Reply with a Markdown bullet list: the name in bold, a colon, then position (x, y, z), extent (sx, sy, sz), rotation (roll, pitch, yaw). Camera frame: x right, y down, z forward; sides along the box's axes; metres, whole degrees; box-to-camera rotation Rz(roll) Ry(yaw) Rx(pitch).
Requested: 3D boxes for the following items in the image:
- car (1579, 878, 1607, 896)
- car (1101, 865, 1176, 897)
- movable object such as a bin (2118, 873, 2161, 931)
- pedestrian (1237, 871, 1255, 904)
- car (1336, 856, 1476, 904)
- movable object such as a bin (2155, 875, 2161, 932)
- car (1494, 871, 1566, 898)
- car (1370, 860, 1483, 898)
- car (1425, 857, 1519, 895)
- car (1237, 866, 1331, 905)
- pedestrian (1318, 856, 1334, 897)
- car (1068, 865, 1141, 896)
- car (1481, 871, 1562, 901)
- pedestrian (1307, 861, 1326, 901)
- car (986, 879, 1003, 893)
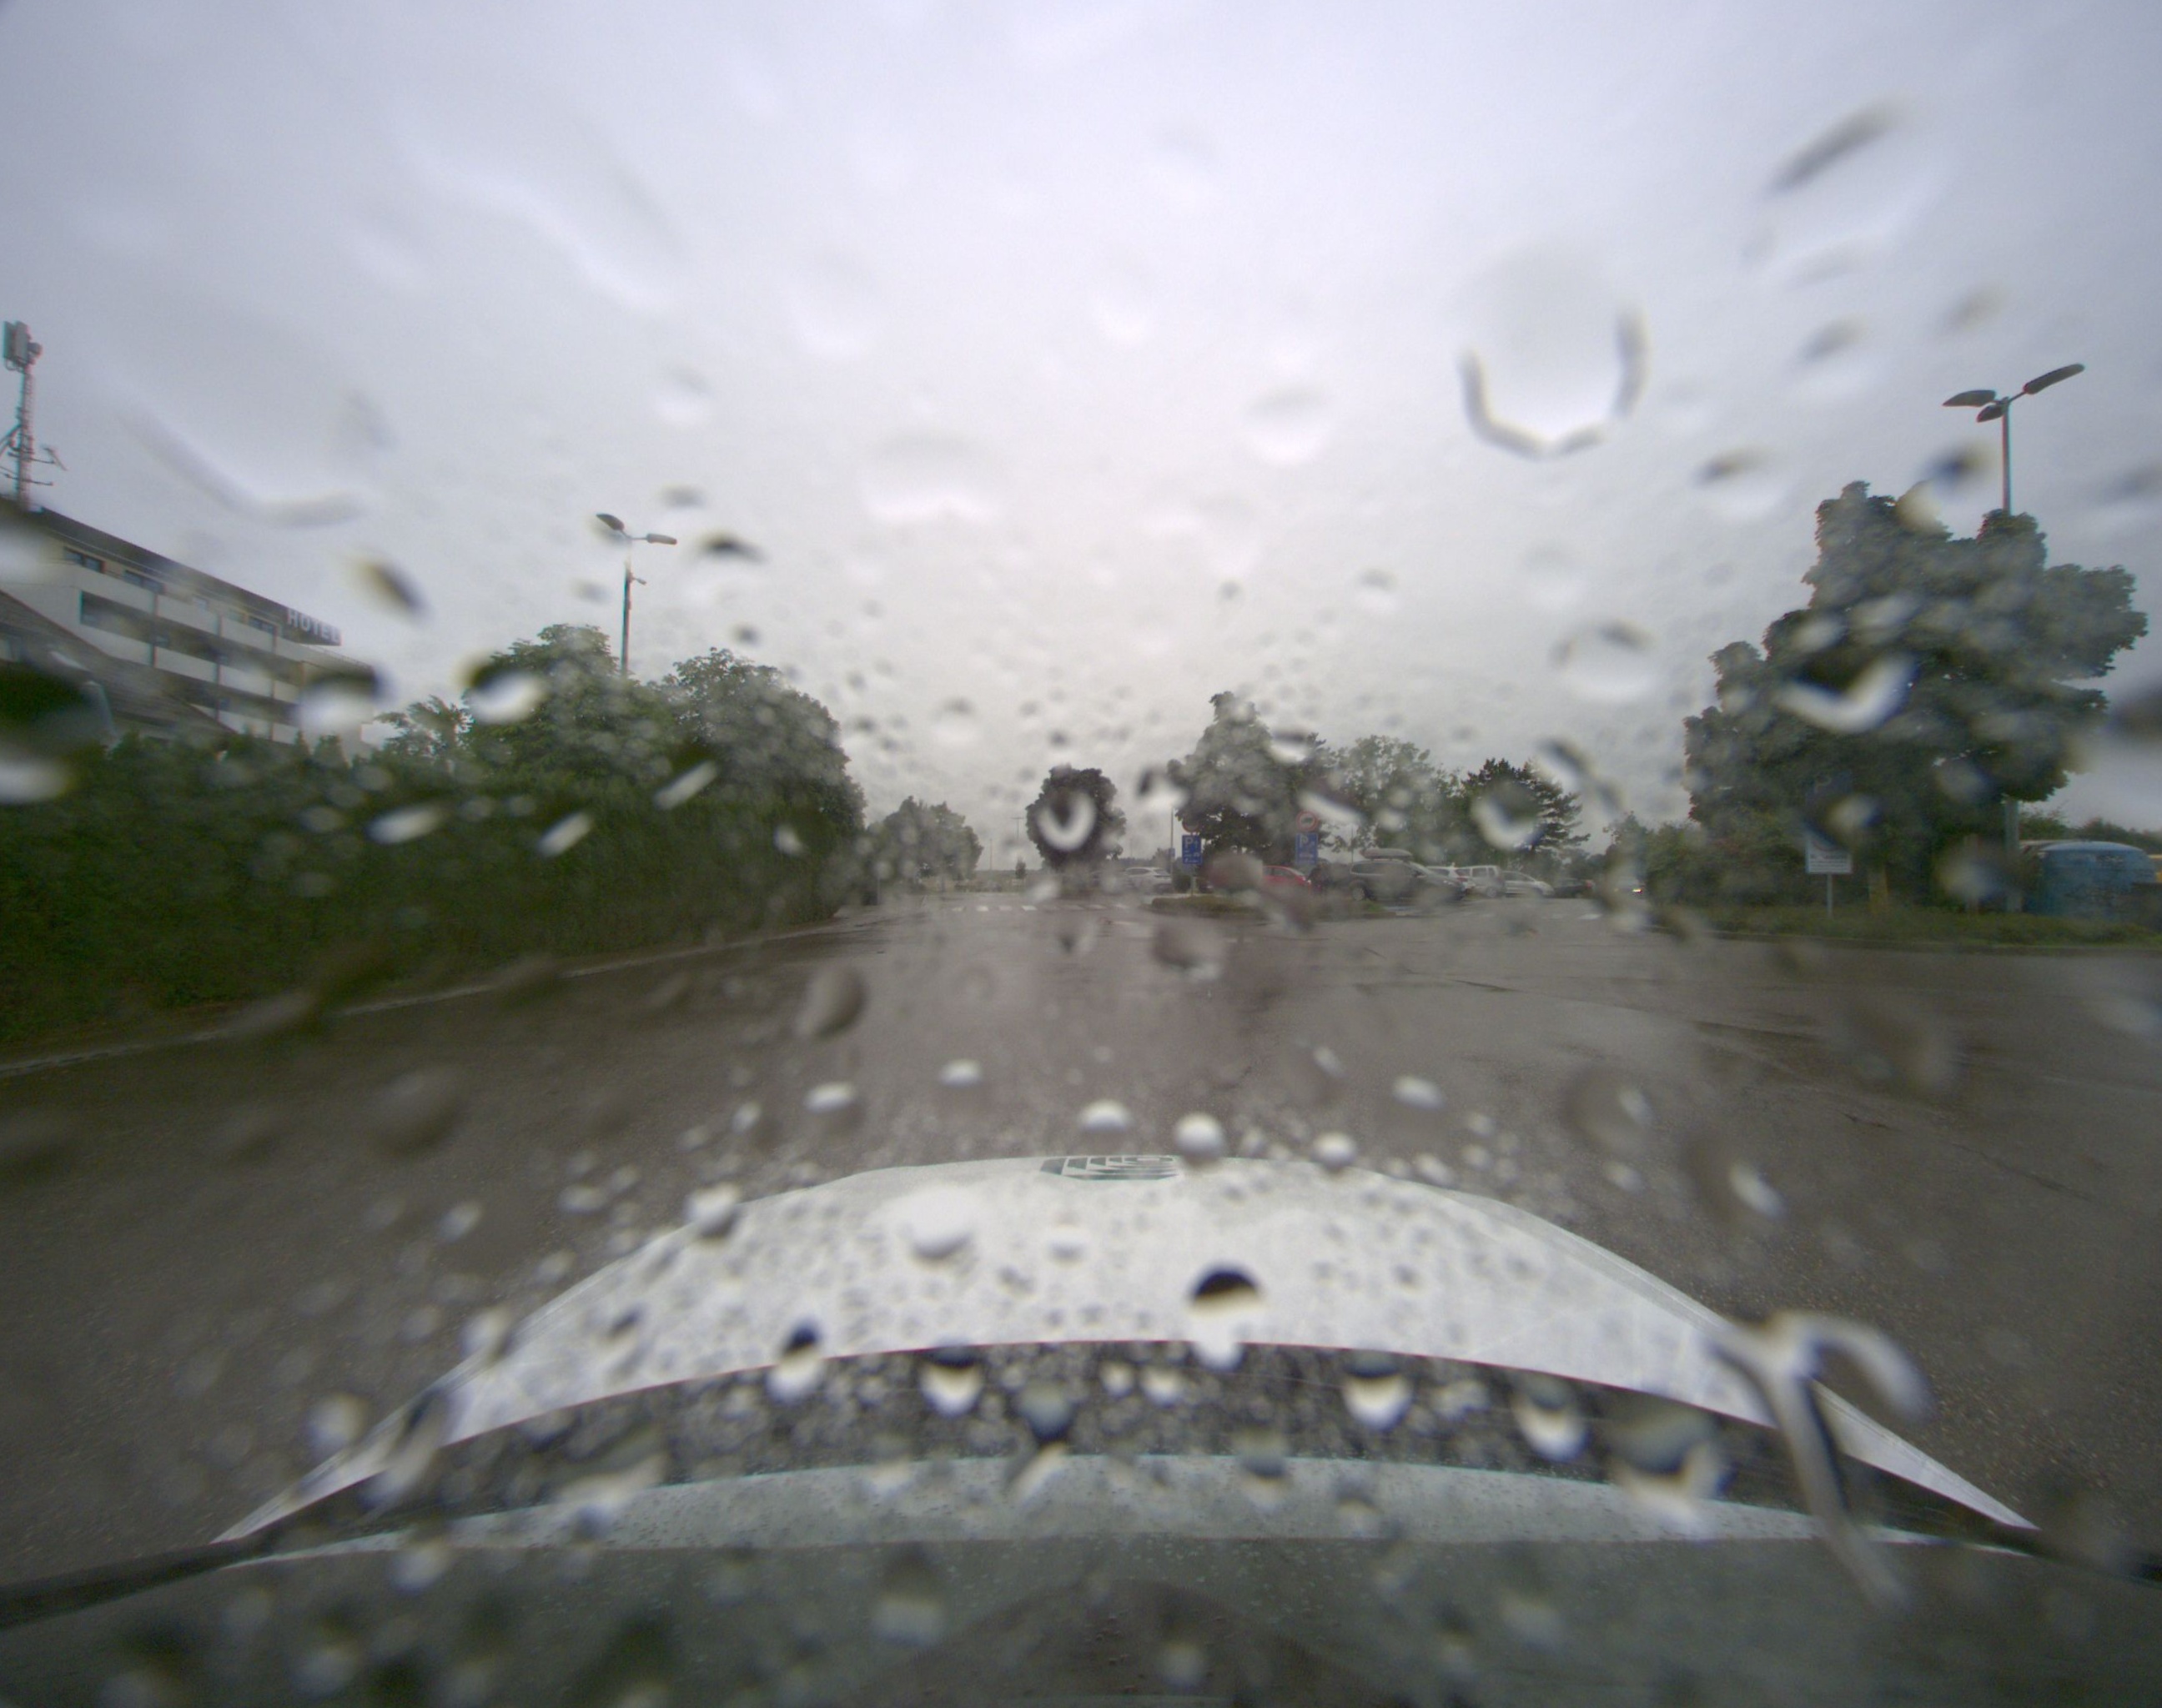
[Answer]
- **car**: position (41.598, 2.718, 66.096), extent (1.629, 1.370, 3.837), rotation (-1, -3, 36)
- **car**: position (3.493, 1.680, 49.792), extent (4.312, 1.862, 1.731), rotation (-2, -4, 37)
- **movable object such as a bin**: position (18.211, 0.813, 13.935), extent (0.449, 0.948, 0.404), rotation (0, 0, -8)
- **pedestrian**: position (6.798, 1.381, 33.550), extent (0.641, 1.362, 0.451), rotation (1, -3, -3)
- **car**: position (13.167, 1.047, 33.151), extent (4.887, 1.792, 2.013), rotation (-2, -1, 37)
- **movable object such as a bin**: position (18.096, 0.820, 13.328), extent (0.468, 0.949, 0.437), rotation (0, 0, 15)
- **car**: position (32.543, 2.175, 59.091), extent (4.312, 1.862, 1.862), rotation (-1, -2, 37)
- **car**: position (14.908, 1.064, 35.232), extent (4.144, 1.517, 1.754), rotation (-1, -1, 39)
- **car**: position (19.998, 1.167, 41.712), extent (3.971, 1.862, 1.862), rotation (-2, -4, 37)
- **car**: position (9.820, 1.510, 39.444), extent (3.971, 1.792, 1.862), rotation (-2, -1, 37)
- **pedestrian**: position (10.624, 0.987, 35.293), extent (0.604, 1.725, 0.687), rotation (0, -3, 18)
- **car**: position (1.344, 1.570, 47.678), extent (3.974, 1.716, 1.731), rotation (-2, -4, 37)
- **car**: position (28.110, 2.040, 52.051), extent (4.312, 1.862, 1.862), rotation (-2, -4, 37)
- **pedestrian**: position (9.883, 1.132, 34.172), extent (0.708, 1.639, 0.649), rotation (-1, -3, 16)
- **car**: position (-12.917, 4.840, 121.364), extent (1.695, 2.014, 4.004), rotation (1, -3, 5)
